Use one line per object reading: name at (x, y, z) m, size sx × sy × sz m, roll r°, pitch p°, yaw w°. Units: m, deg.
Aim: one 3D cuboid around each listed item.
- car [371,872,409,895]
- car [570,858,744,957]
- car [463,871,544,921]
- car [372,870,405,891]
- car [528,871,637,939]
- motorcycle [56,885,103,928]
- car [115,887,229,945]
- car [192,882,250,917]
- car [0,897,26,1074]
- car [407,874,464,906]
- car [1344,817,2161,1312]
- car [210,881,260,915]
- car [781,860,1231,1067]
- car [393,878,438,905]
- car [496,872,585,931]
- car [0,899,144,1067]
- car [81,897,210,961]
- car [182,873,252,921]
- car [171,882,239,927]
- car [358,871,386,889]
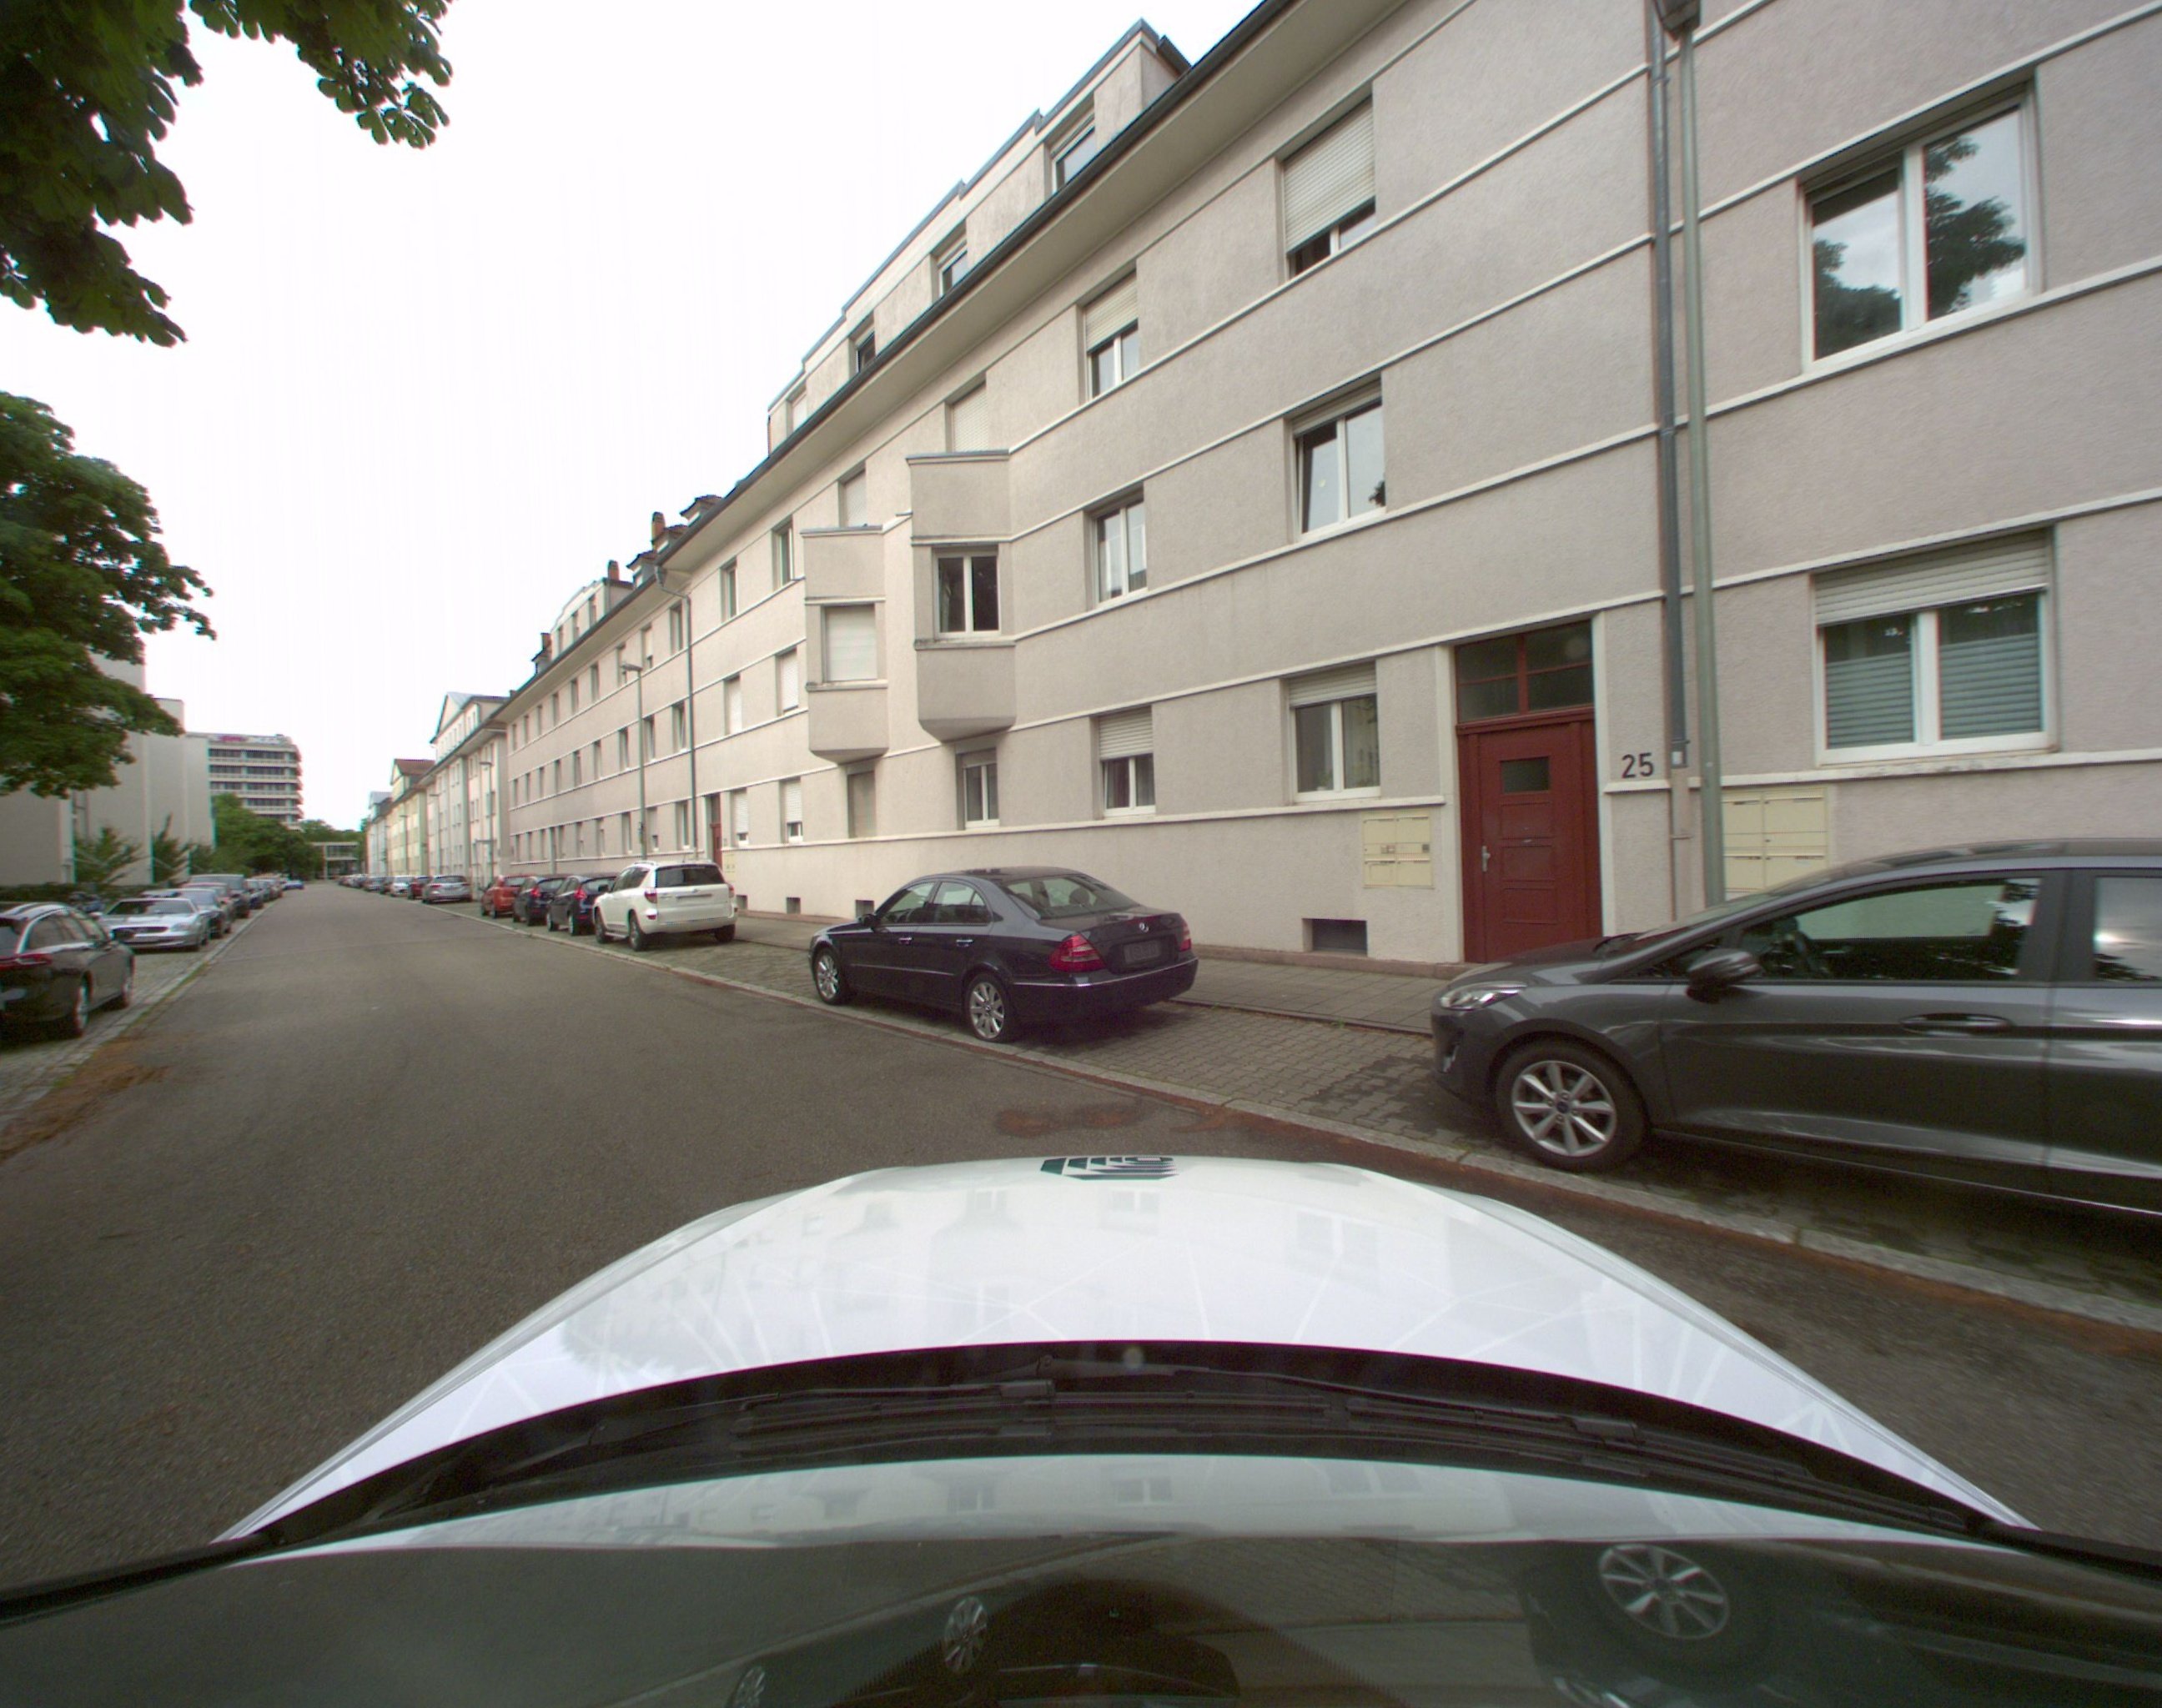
car at (-48.531, 2.057, 57.178) m, size 1.836 × 1.504 × 3.706 m, roll -1°, pitch 0°, yaw -44°
car at (-8.745, 0.987, 16.632) m, size 4.235 × 1.673 × 1.860 m, roll -1°, pitch 2°, yaw 44°
car at (-20.034, 1.399, 28.189) m, size 1.712 × 1.525 × 3.779 m, roll -4°, pitch 2°, yaw -44°
car at (-56.210, 2.107, 66.090) m, size 1.836 × 1.577 × 3.706 m, roll -1°, pitch 0°, yaw -44°
car at (-12.570, 1.201, 20.431) m, size 1.581 × 1.478 × 3.823 m, roll -3°, pitch 1°, yaw -43°
motorcycle at (-33.252, 1.719, 27.055) m, size 0.683 × 1.356 × 2.202 m, roll 2°, pitch -2°, yaw -44°
car at (-26.579, 1.744, 23.953) m, size 1.858 × 1.421 × 4.572 m, roll 1°, pitch -1°, yaw -44°
car at (-41.414, 2.160, 39.278) m, size 4.206 × 1.459 × 1.847 m, roll -1°, pitch 0°, yaw 44°
car at (-8.943, 1.097, 5.477) m, size 1.537 × 1.494 × 3.549 m, roll 1°, pitch -2°, yaw -41°
car at (-33.016, 1.812, 41.596) m, size 4.543 × 1.467 × 1.771 m, roll -1°, pitch 0°, yaw 45°
car at (3.508, 0.646, 3.659) m, size 4.028 × 1.525 × 1.773 m, roll -1°, pitch 2°, yaw 45°
car at (-45.524, 2.310, 43.869) m, size 4.300 × 1.643 × 1.786 m, roll -1°, pitch 0°, yaw 44°
car at (-1.061, 0.822, 8.225) m, size 4.888 × 1.420 × 1.761 m, roll -1°, pitch 2°, yaw 45°
car at (-40.198, 2.227, 49.145) m, size 1.685 × 1.420 × 3.950 m, roll -4°, pitch 2°, yaw -45°
car at (-16.148, 1.350, 24.265) m, size 1.581 × 1.473 × 3.651 m, roll -5°, pitch 2°, yaw -42°
car at (-12.307, 1.314, 9.083) m, size 1.884 × 1.465 × 4.775 m, roll 1°, pitch -2°, yaw -43°
car at (-22.854, 1.763, 20.037) m, size 1.711 × 1.258 × 3.966 m, roll 1°, pitch -1°, yaw -44°
car at (-36.703, 1.747, 34.672) m, size 4.967 × 1.904 × 1.896 m, roll -1°, pitch -2°, yaw 44°
car at (-33.306, 1.858, 31.024) m, size 1.577 × 1.569 × 3.597 m, roll 2°, pitch -2°, yaw -45°
car at (-67.870, 2.492, 77.940) m, size 1.836 × 1.577 × 3.836 m, roll -1°, pitch 0°, yaw -44°
